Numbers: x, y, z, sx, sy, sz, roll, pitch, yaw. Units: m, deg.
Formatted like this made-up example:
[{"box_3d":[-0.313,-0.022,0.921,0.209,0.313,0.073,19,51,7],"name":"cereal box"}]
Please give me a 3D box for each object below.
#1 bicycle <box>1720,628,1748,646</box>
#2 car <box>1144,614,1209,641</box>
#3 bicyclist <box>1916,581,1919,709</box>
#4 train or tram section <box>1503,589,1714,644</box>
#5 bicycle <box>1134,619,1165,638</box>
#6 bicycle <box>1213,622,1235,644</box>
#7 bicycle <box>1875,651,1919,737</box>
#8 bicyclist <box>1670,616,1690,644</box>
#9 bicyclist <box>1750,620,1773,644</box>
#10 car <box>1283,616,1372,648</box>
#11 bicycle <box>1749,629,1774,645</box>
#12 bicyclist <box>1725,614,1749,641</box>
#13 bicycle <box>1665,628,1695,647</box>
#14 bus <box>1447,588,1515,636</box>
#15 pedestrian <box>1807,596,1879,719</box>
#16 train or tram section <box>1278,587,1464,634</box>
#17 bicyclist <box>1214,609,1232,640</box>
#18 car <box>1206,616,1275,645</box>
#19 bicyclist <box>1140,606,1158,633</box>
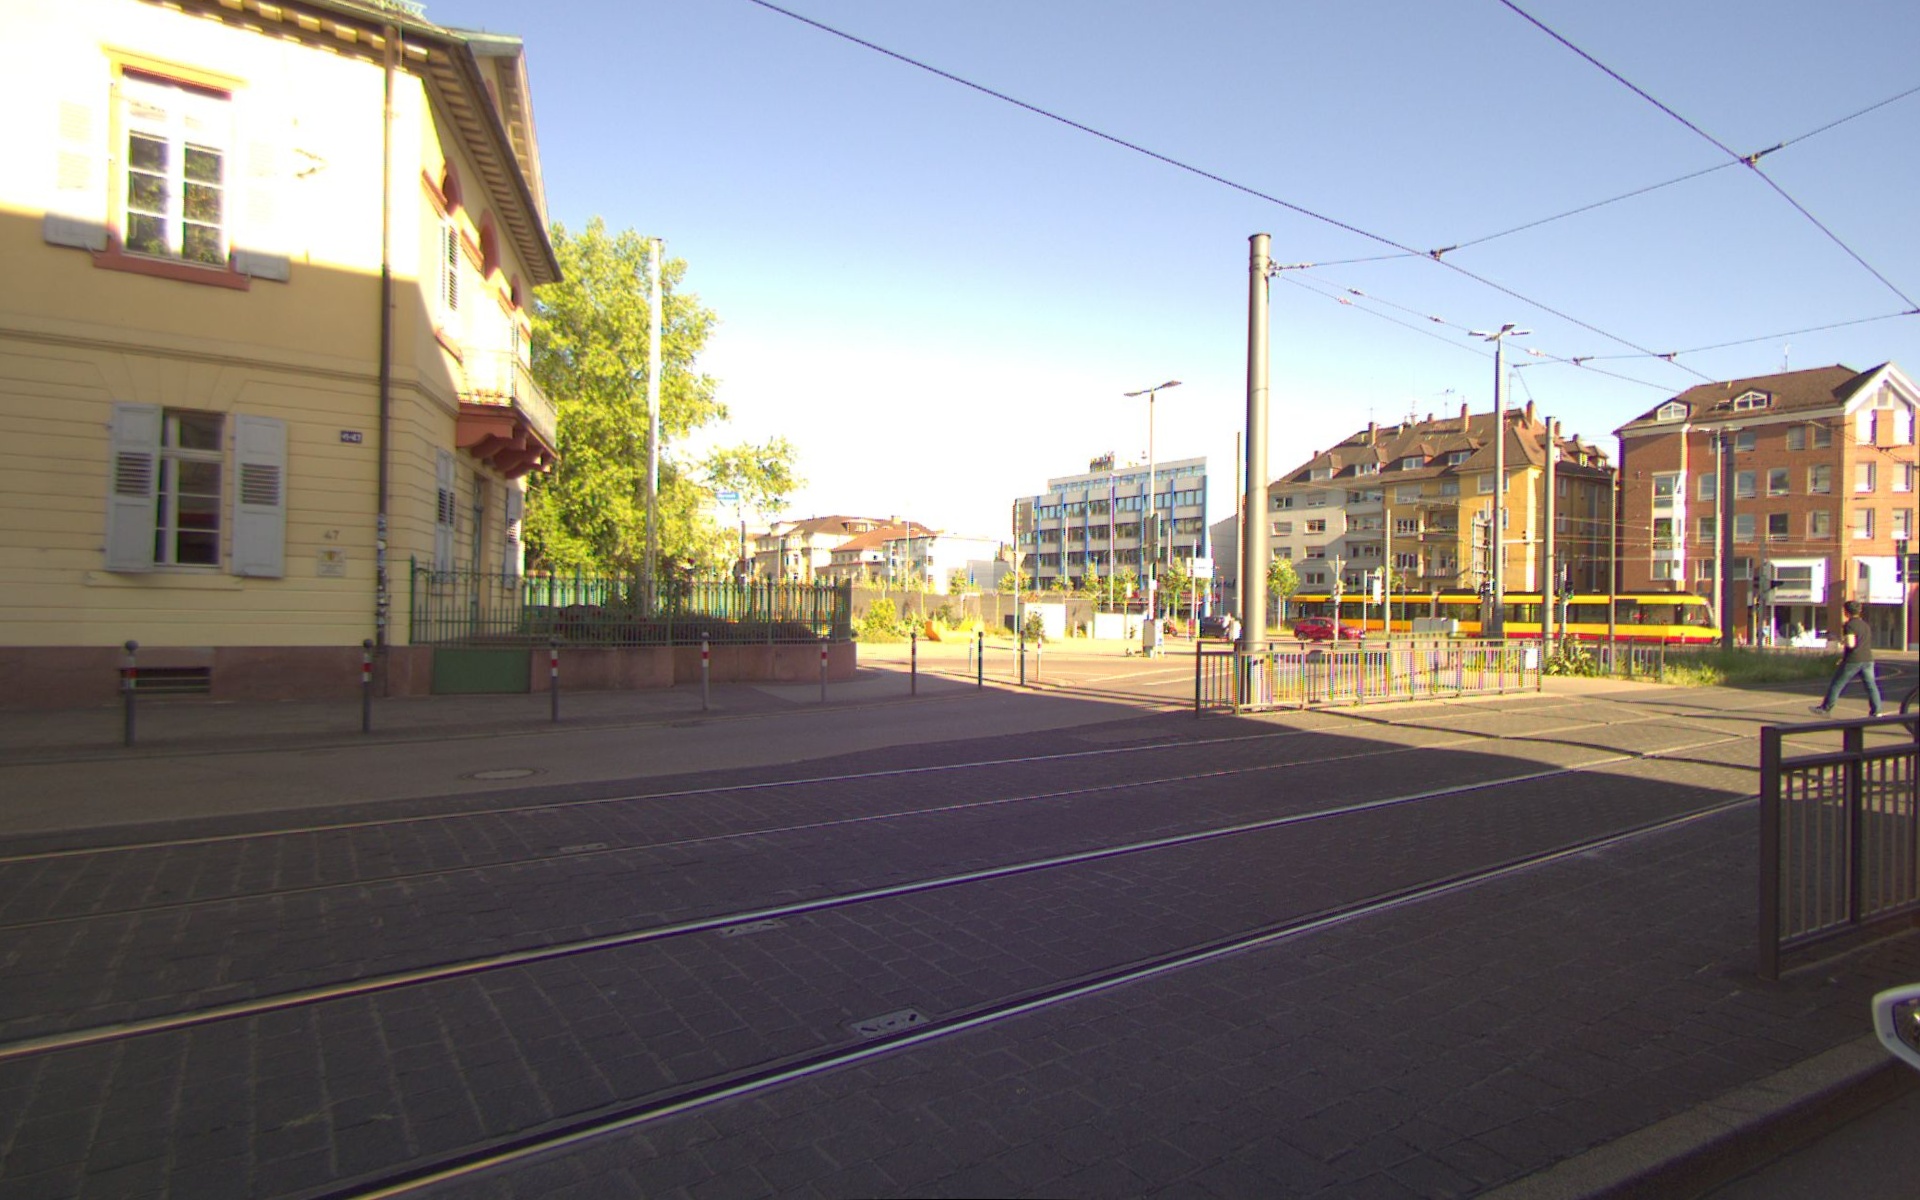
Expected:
[{"box_3d":[45.241,2.159,58.698,2.220,0.984,0.521,2,0,-31],"name":"bicycle"},{"box_3d":[14.745,1.871,68.567,1.895,1.708,3.916,2,0,-41],"name":"car"},{"box_3d":[12.055,0.551,11.891,1.029,1.542,0.389,2,0,44],"name":"bicyclist"},{"box_3d":[41.513,0.966,64.731,11.106,3.172,2.790,1,0,42],"name":"train or tram section"},{"box_3d":[12.784,1.933,67.881,0.542,1.230,2.168,2,0,-41],"name":"bicycle"},{"box_3d":[15.432,1.916,58.708,0.477,1.238,1.852,2,0,-9],"name":"bicycle"},{"box_3d":[11.973,1.155,11.956,1.580,1.007,0.401,2,0,44],"name":"bicycle"},{"box_3d":[39.642,1.645,55.316,0.688,1.523,0.630,2,0,-30],"name":"bicyclist"},{"box_3d":[50.374,1.993,63.133,0.958,1.490,0.702,1,0,-22],"name":"bicyclist"},{"box_3d":[21.870,1.885,59.894,1.984,1.723,4.545,2,0,-41],"name":"car"},{"box_3d":[50.368,2.340,63.115,1.669,0.994,0.403,2,0,-22],"name":"bicycle"},{"box_3d":[45.489,1.623,58.802,0.688,1.523,0.894,2,0,-30],"name":"bicyclist"},{"box_3d":[39.671,2.063,55.342,2.220,0.984,0.444,2,0,-31],"name":"bicycle"},{"box_3d":[36.212,0.832,69.844,2.752,3.172,3.482,2,0,-43],"name":"bus"},{"box_3d":[12.716,0.814,14.464,0.766,1.703,0.587,2,0,-35],"name":"pedestrian"},{"box_3d":[30.943,0.708,76.623,2.710,3.172,13.566,2,0,-38],"name":"train or tram section"},{"box_3d":[15.435,1.451,58.958,0.745,1.783,0.752,2,0,-9],"name":"bicyclist"},{"box_3d":[18.004,1.942,64.576,1.762,1.694,3.955,2,0,-39],"name":"car"},{"box_3d":[12.779,1.311,67.895,0.785,1.832,0.892,2,0,-42],"name":"bicyclist"}]
